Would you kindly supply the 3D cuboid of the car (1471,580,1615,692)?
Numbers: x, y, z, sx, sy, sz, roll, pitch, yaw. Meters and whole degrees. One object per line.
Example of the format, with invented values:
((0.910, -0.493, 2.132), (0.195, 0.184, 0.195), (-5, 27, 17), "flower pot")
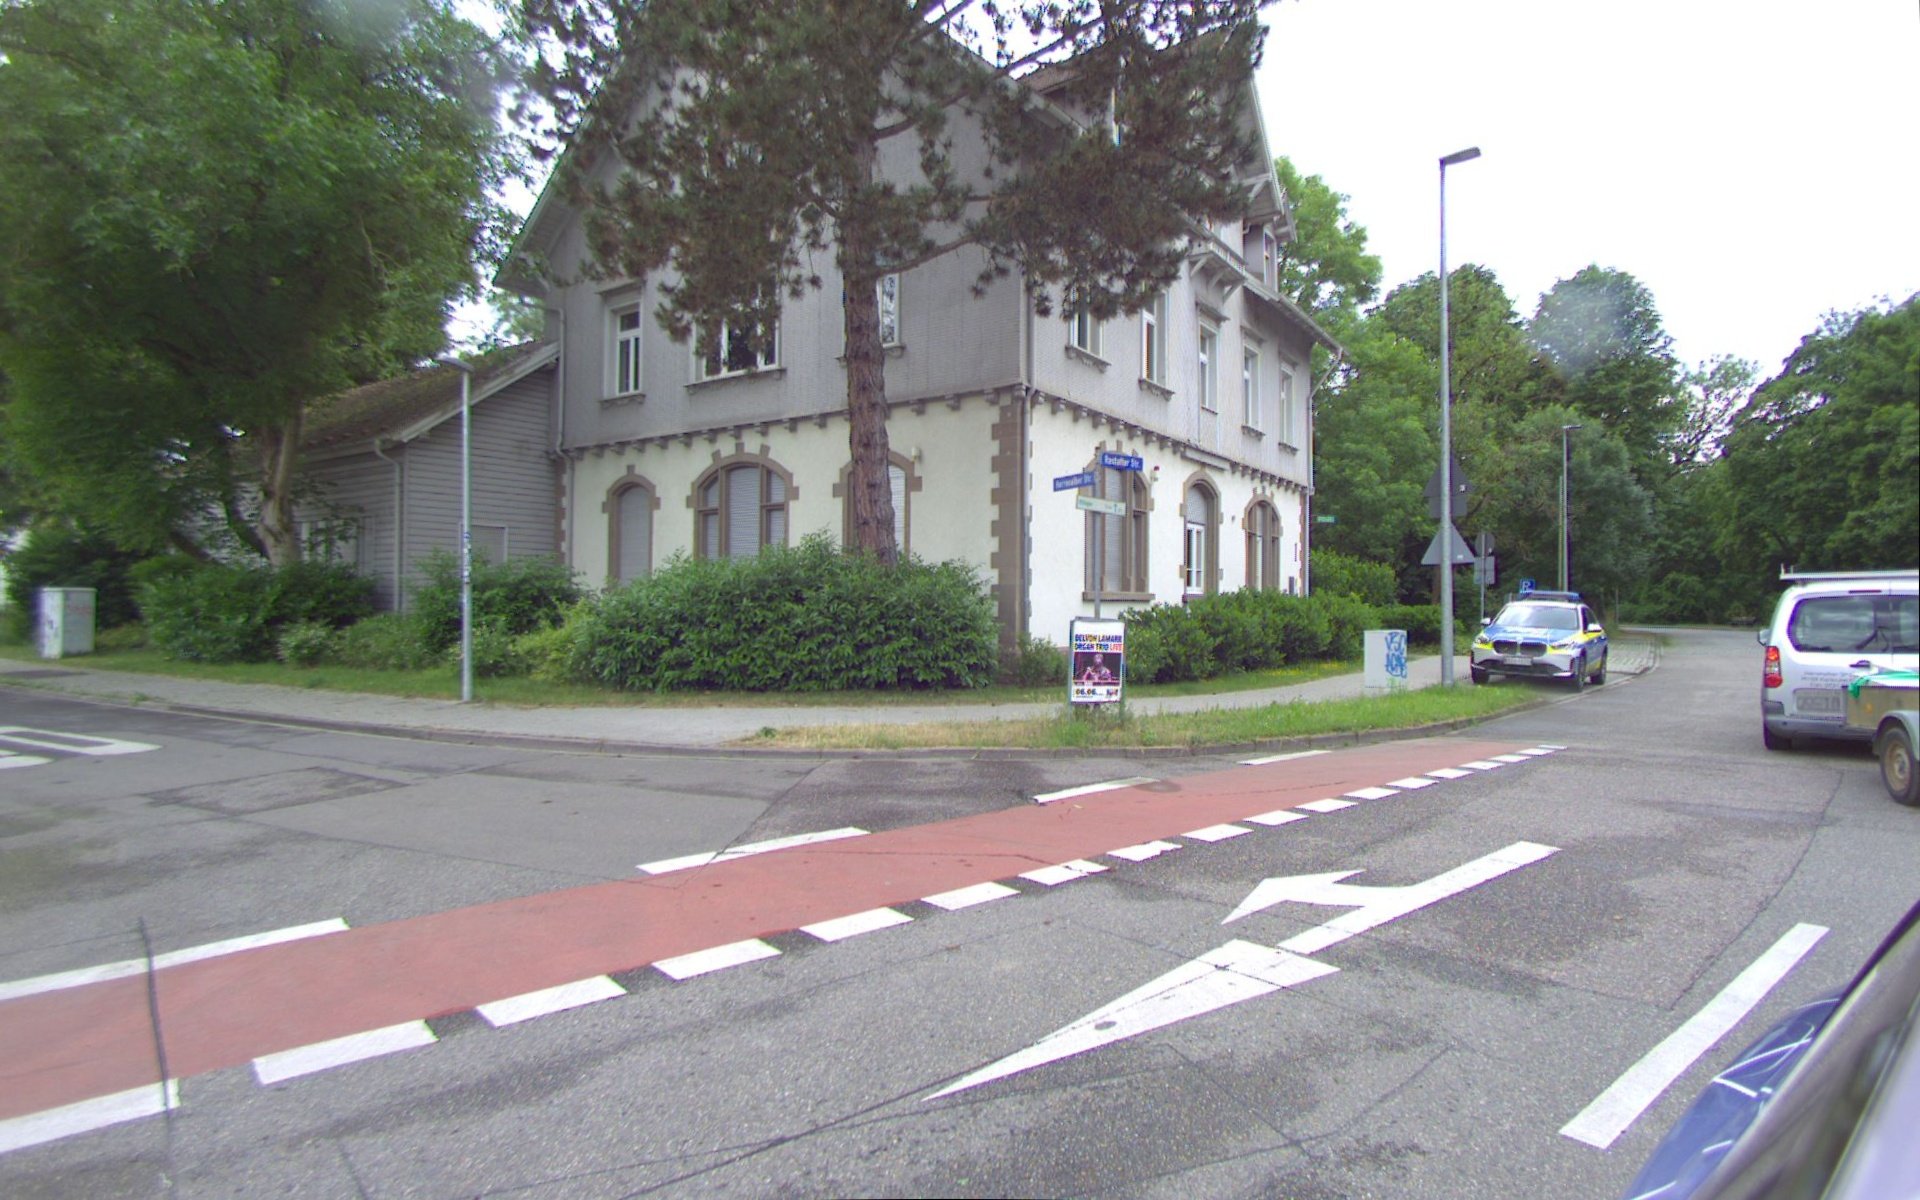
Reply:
((11.304, 0.613, 19.497), (1.926, 1.873, 3.947), (3, 1, 37), "car")

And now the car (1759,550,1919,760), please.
((9.858, 0.486, 10.789), (2.084, 1.881, 4.163), (1, 0, 38), "car")

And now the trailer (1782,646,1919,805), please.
((7.699, 0.946, 7.389), (1.552, 0.998, 3.443), (0, 1, 20), "trailer")
